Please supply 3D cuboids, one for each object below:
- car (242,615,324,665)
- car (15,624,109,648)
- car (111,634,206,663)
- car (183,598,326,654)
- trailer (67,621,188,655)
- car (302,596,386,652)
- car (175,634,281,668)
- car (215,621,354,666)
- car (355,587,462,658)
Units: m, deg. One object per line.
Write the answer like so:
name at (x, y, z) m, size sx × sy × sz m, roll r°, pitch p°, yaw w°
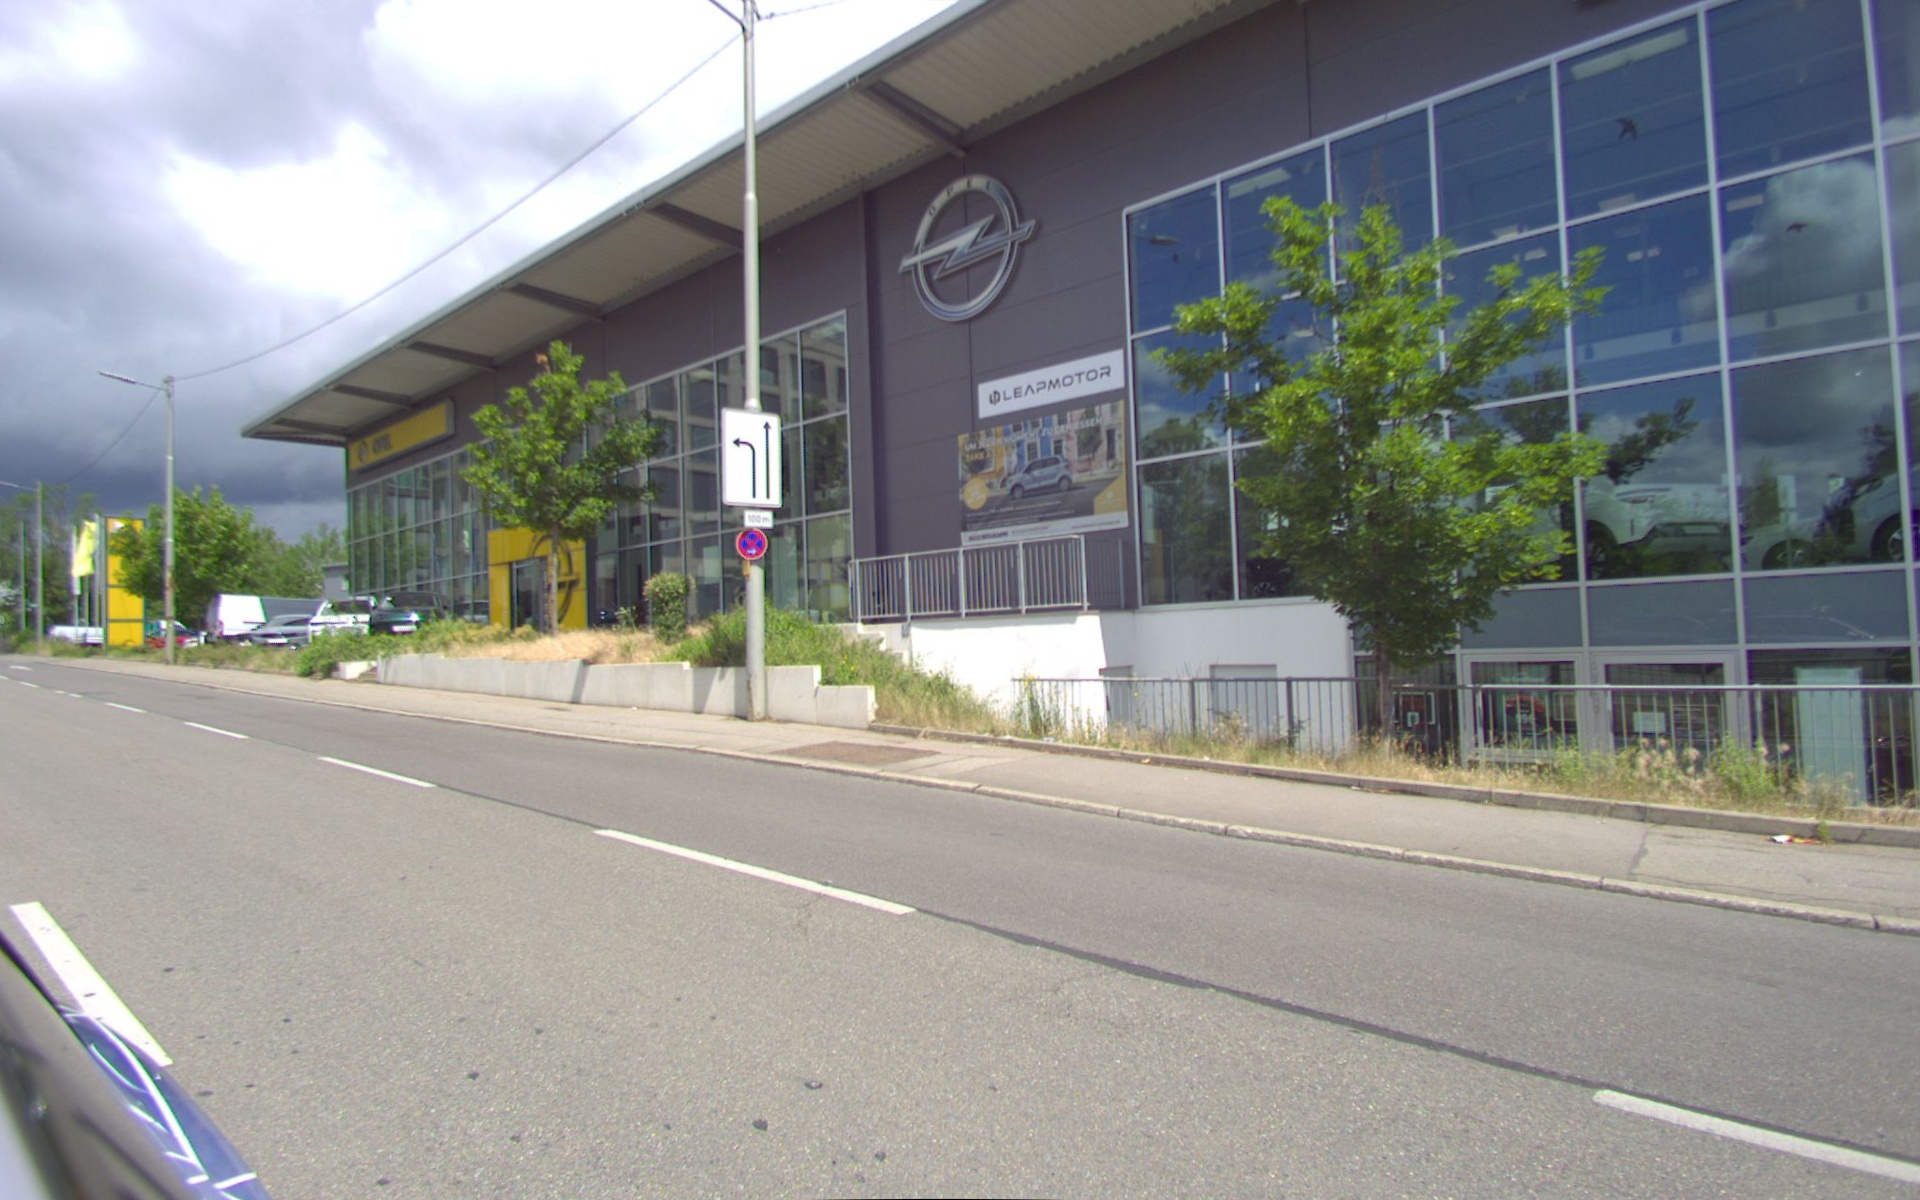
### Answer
car at (-23.487, 1.364, 35.235) m, size 1.767 × 1.625 × 4.122 m, roll 1°, pitch -2°, yaw -26°
car at (-57.623, 2.301, 64.991) m, size 2.093 × 1.493 × 4.200 m, roll -2°, pitch -2°, yaw 38°
car at (-42.023, 2.525, 53.105) m, size 1.814 × 1.420 × 3.621 m, roll -2°, pitch -2°, yaw 42°
car at (-29.238, 1.060, 42.058) m, size 2.178 × 2.211 × 4.474 m, roll -1°, pitch -2°, yaw 40°
trailer at (-45.385, 2.050, 55.278) m, size 2.092 × 1.765 × 4.776 m, roll -2°, pitch -2°, yaw 37°
car at (-19.279, 0.743, 31.824) m, size 1.767 × 1.625 × 4.122 m, roll 0°, pitch -1°, yaw -25°
car at (-35.530, 2.445, 49.169) m, size 1.559 × 1.539 × 3.897 m, roll -2°, pitch -2°, yaw 38°
car at (-25.737, 1.639, 38.679) m, size 1.792 × 1.625 × 4.064 m, roll -2°, pitch -2°, yaw 32°
car at (-15.503, 0.650, 28.663) m, size 1.792 × 1.624 × 4.121 m, roll -8°, pitch 1°, yaw -19°
